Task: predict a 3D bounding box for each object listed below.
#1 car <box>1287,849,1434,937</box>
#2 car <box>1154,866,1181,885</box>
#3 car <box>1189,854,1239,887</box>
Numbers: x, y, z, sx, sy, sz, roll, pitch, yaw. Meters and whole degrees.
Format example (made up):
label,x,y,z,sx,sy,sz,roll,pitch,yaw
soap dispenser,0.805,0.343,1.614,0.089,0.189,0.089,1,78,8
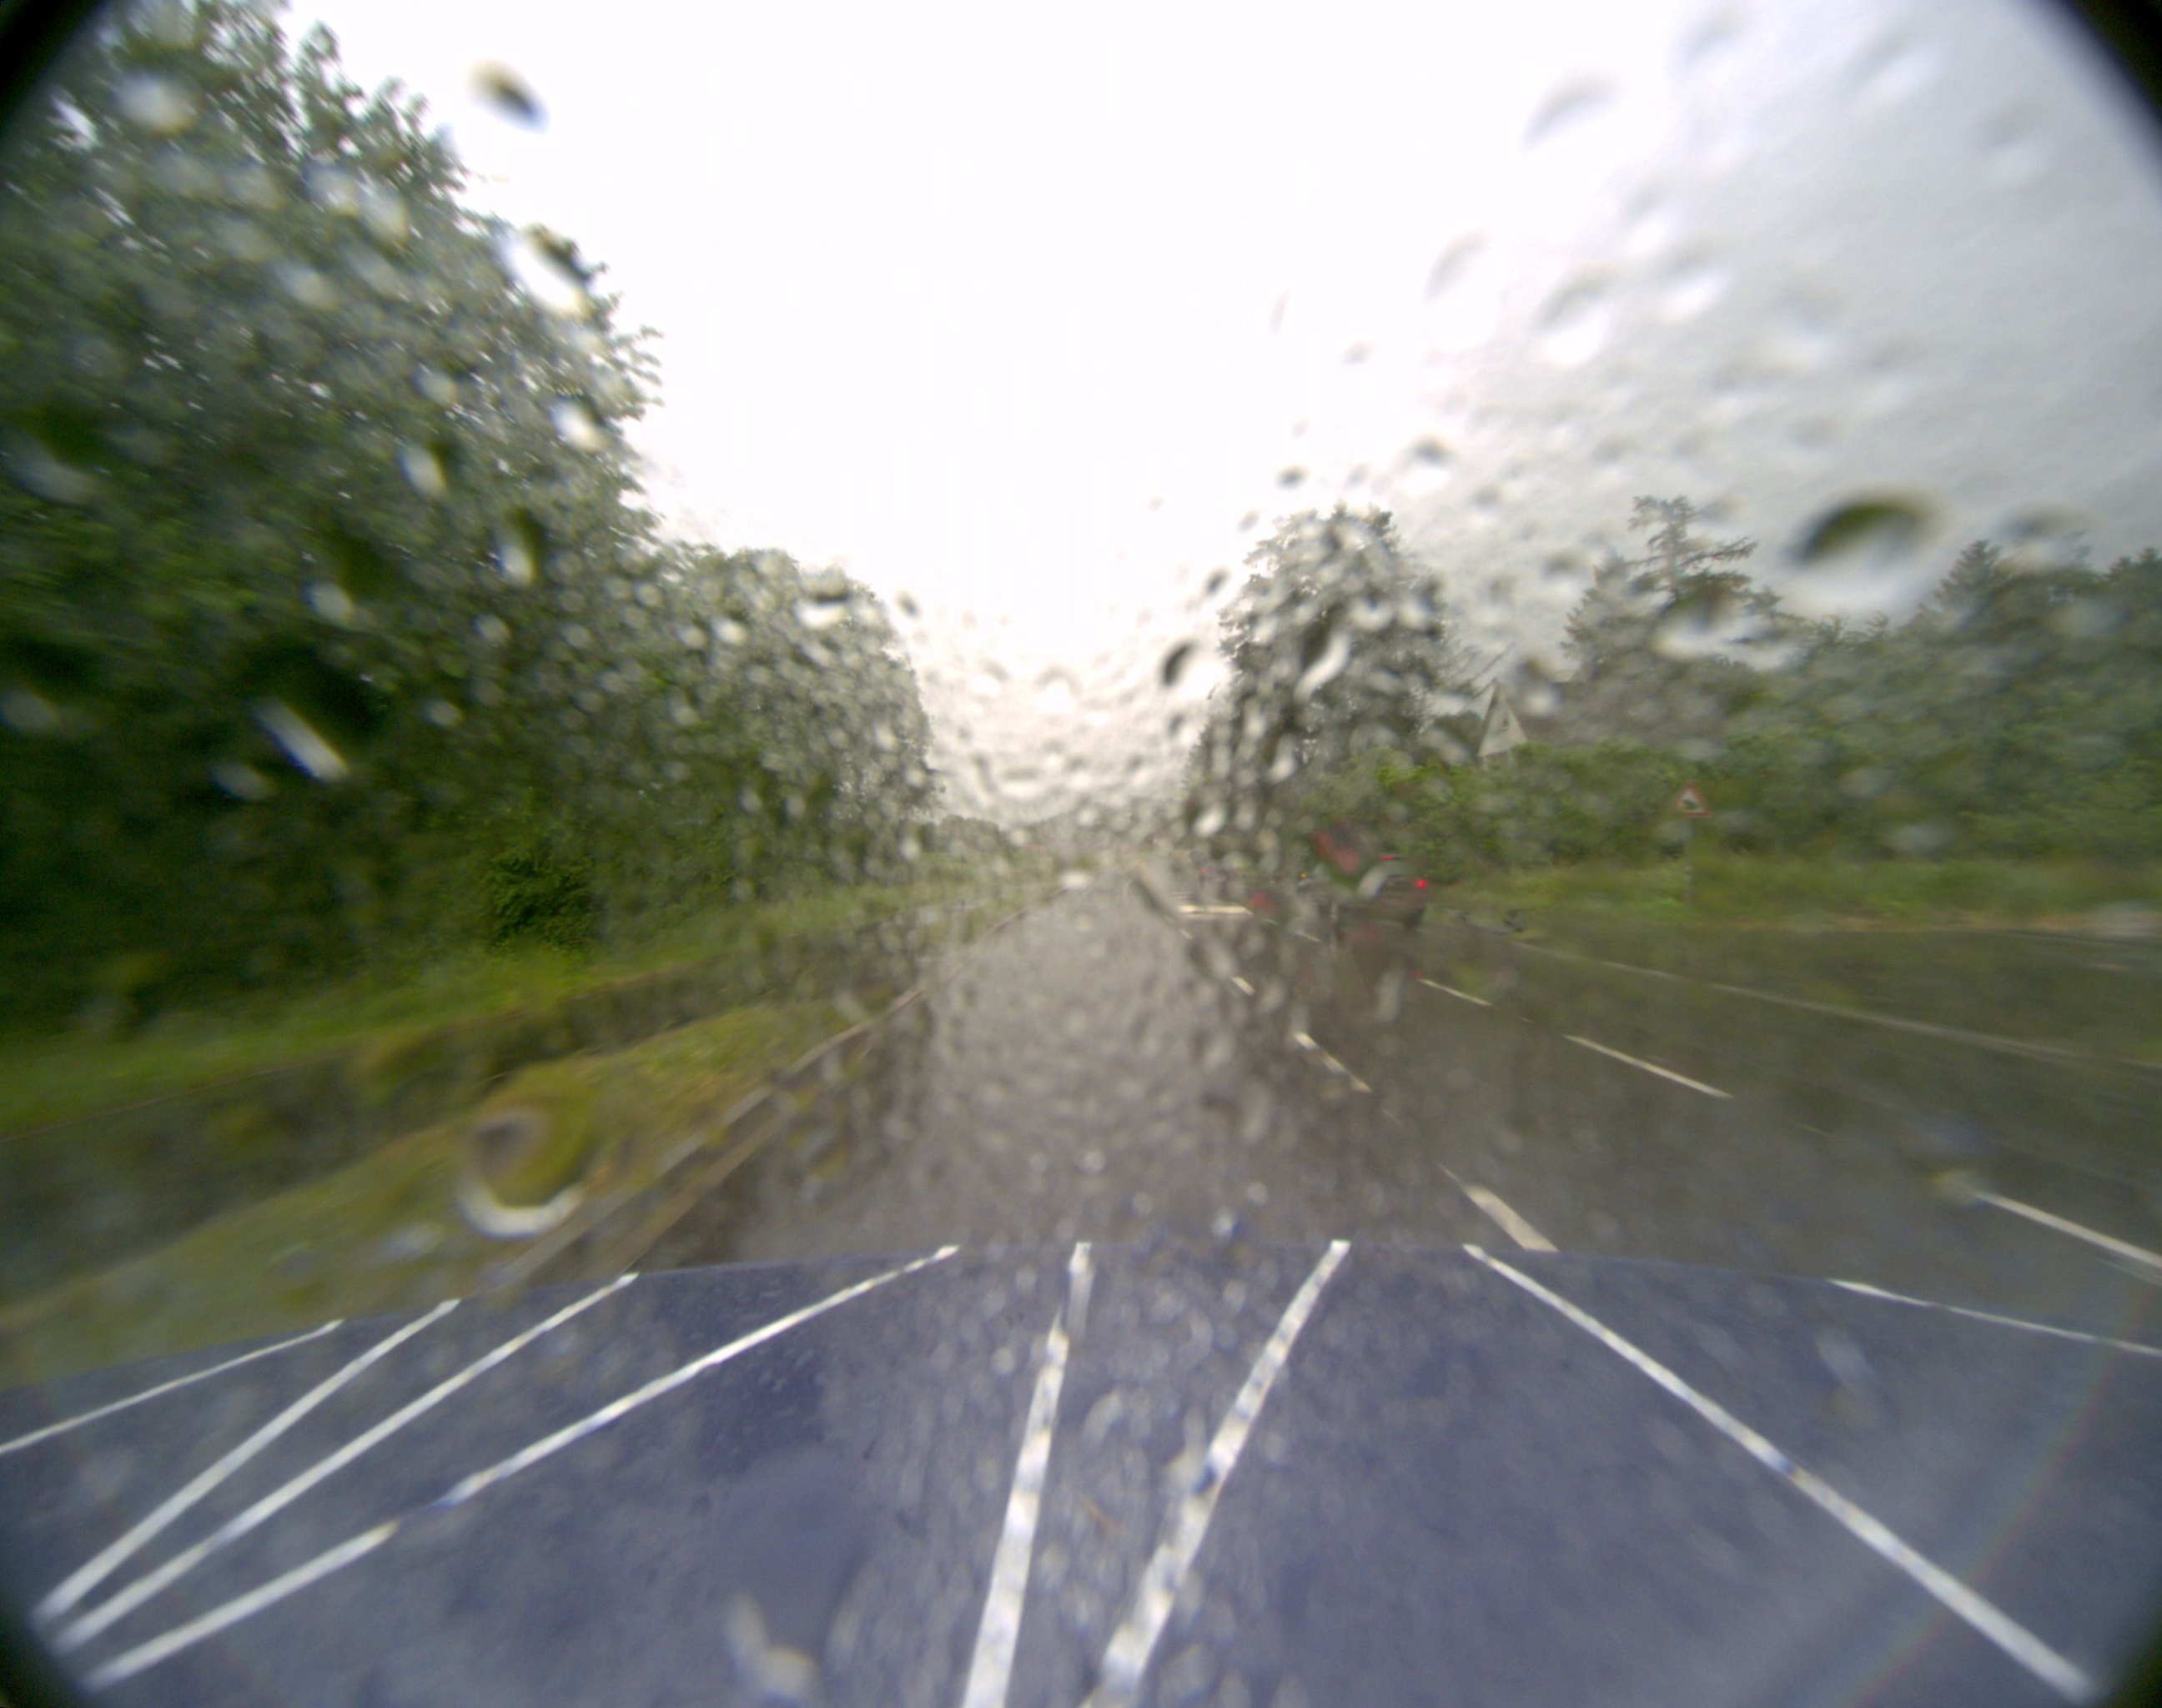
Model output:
label,x,y,z,sx,sy,sz,roll,pitch,yaw
car,6.110,0.767,17.171,1.745,1.708,4.267,1,0,1
car,7.148,1.744,63.147,1.687,1.374,4.224,-4,0,0
car,6.268,0.738,36.228,1.745,1.437,3.682,1,0,1
